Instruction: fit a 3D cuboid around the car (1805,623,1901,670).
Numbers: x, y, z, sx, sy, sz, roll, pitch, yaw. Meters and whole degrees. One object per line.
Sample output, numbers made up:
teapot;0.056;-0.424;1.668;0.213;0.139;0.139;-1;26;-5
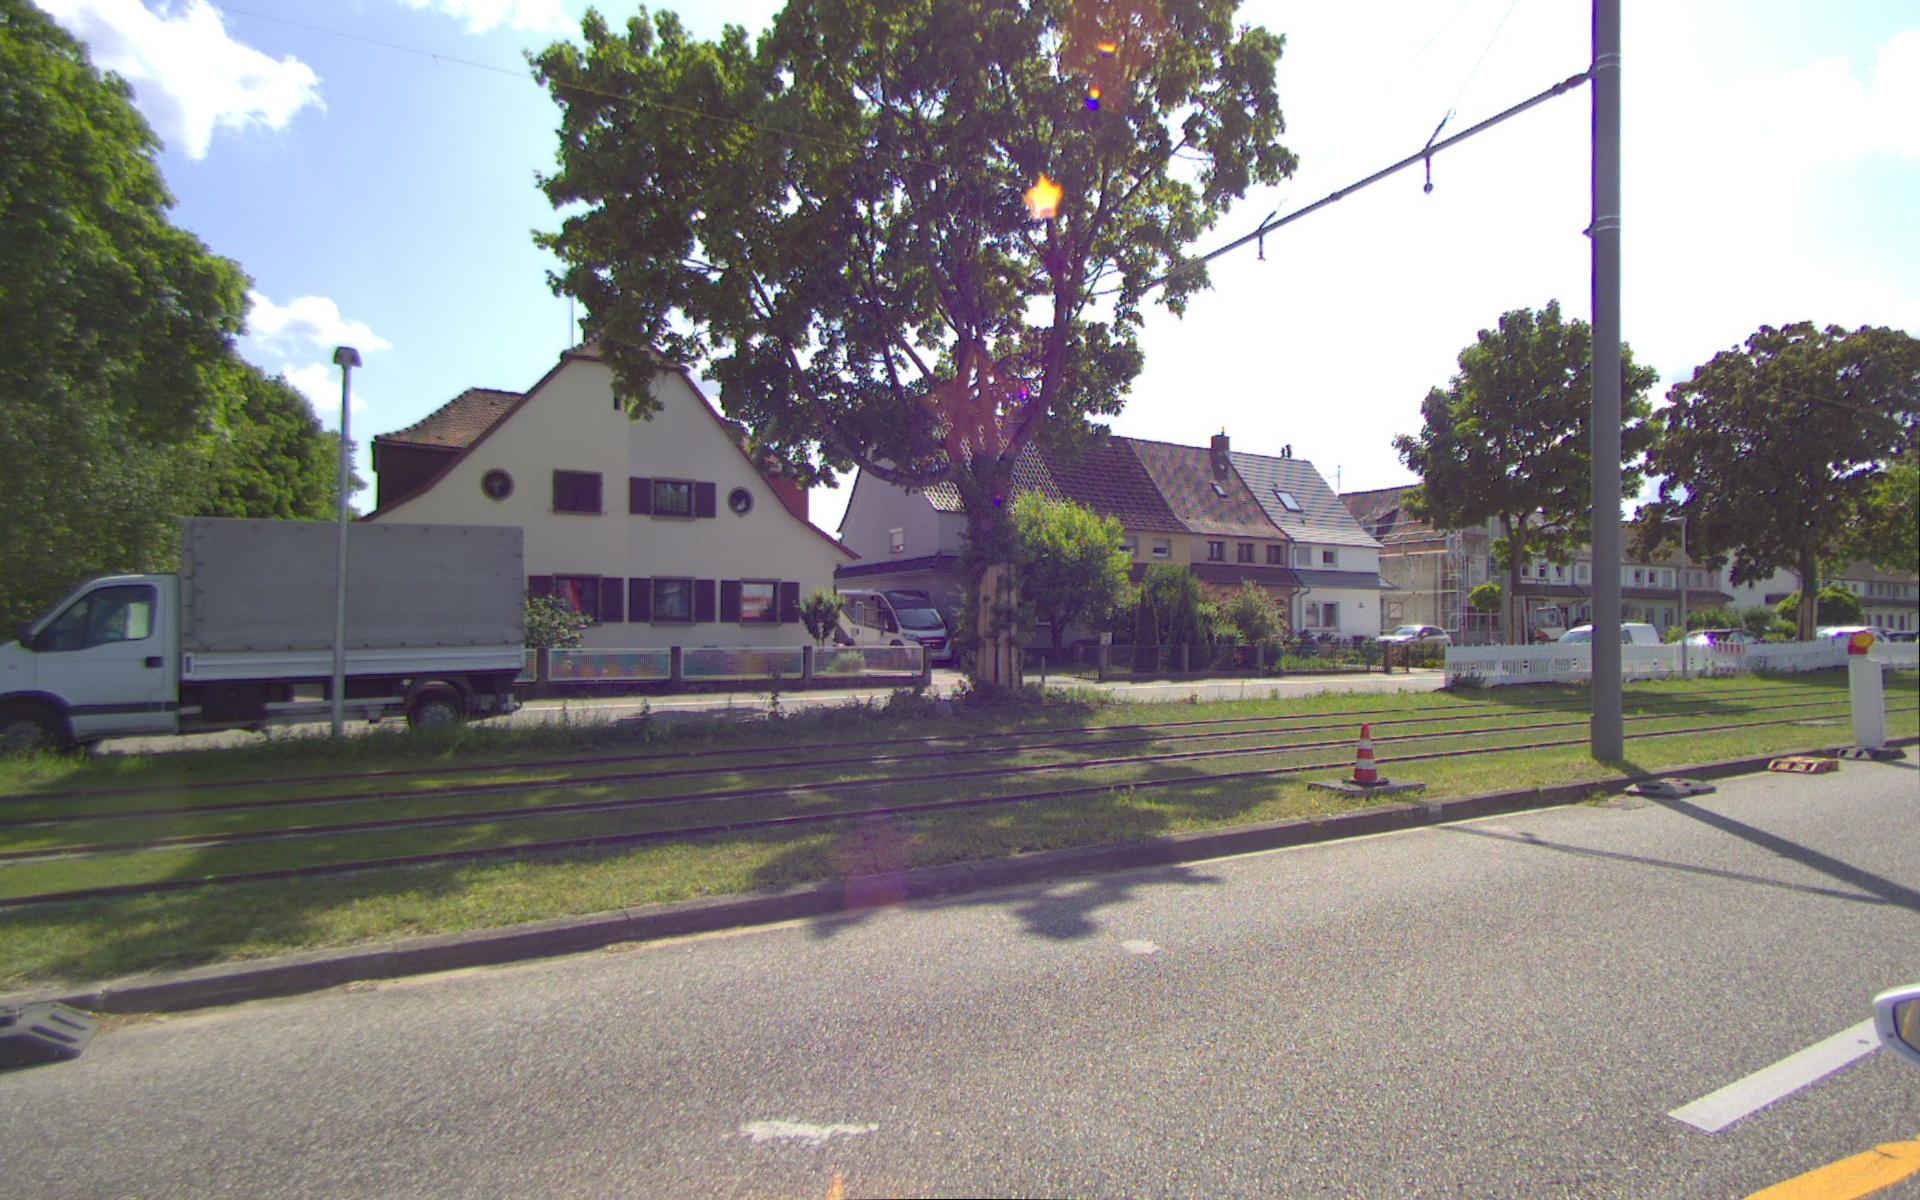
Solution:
car;34.991;1.801;39.363;3.814;1.762;1.691;1;-2;-30

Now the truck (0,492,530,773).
truck;-8.797;0.412;12.929;5.805;3.027;1.994;1;-2;-30

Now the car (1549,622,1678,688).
car;19.501;1.604;29.956;3.814;1.841;1.691;1;-2;-30

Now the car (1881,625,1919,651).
car;66.751;2.683;70.728;4.013;1.762;1.691;1;-2;-30

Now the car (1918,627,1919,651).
car;72.134;2.847;73.664;4.013;1.762;1.691;1;-2;-30

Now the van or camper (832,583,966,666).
van or camper;-2.351;0.906;36.646;2.224;2.745;5.963;1;-2;-33

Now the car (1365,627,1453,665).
car;19.888;1.993;44.475;3.814;1.614;1.691;1;-2;-30

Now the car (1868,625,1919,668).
car;40.388;1.960;42.597;3.814;1.762;1.691;1;-2;-30

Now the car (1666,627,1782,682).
car;25.746;1.799;33.823;4.006;1.762;1.691;1;-2;-30
